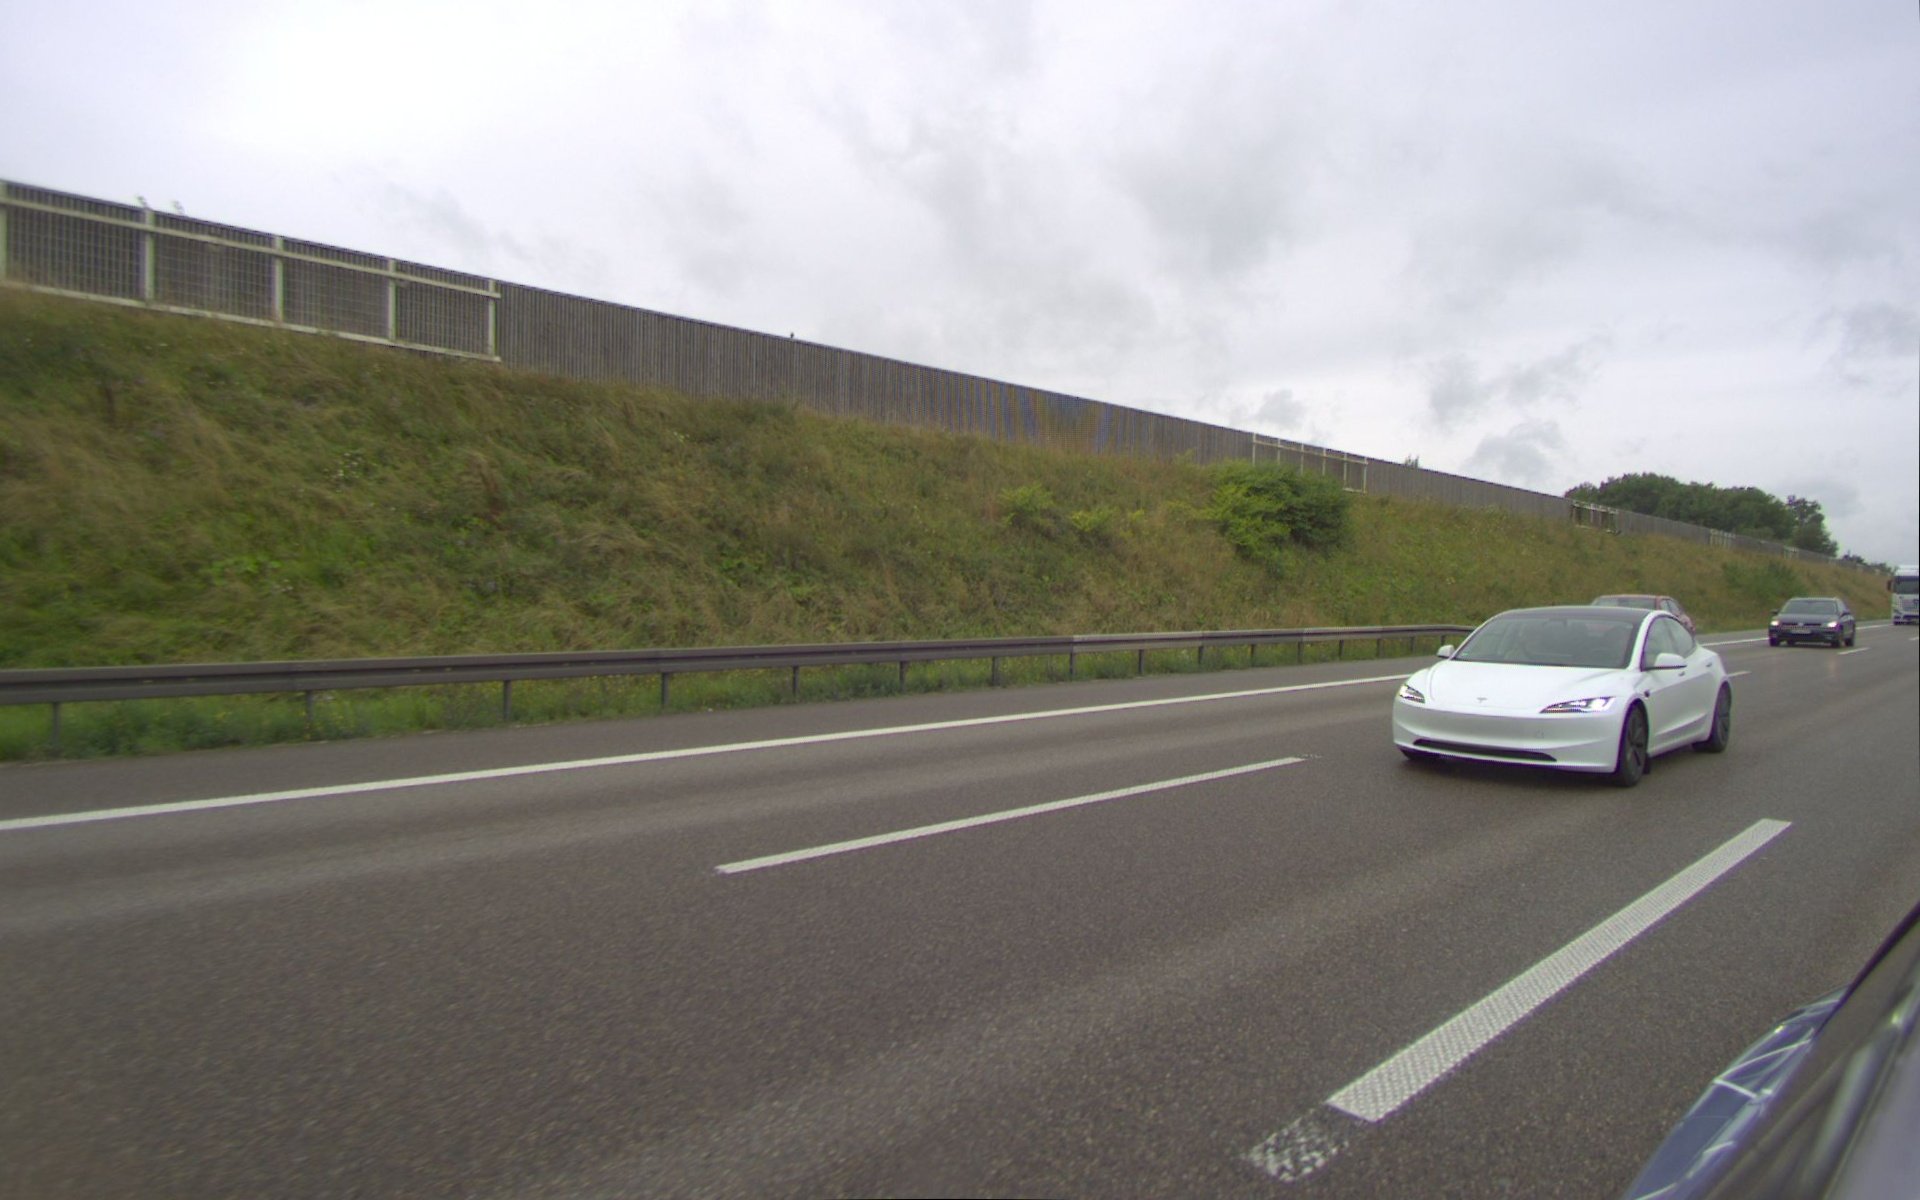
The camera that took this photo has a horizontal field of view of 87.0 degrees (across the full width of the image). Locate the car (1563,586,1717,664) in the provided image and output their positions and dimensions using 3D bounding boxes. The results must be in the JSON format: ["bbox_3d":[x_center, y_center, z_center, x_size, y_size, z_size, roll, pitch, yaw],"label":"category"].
[{"bbox_3d":[15.033,0.477,22.318,3.931,1.554,1.876,-1,0,-41],"label":"car"}]

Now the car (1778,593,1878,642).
[{"bbox_3d":[28.962,0.537,33.721,4.408,1.508,1.927,-1,0,-41],"label":"car"}]

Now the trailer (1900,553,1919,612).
[{"bbox_3d":[71.428,-1.264,73.941,14.969,4.077,3.084,-1,0,-44],"label":"trailer"}]

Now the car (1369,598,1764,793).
[{"bbox_3d":[5.969,0.697,9.688,4.729,1.380,1.877,-1,0,-41],"label":"car"}]

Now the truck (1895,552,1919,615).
[{"bbox_3d":[65.375,-1.100,68.155,6.841,4.077,3.084,-1,0,-43],"label":"truck"}]
